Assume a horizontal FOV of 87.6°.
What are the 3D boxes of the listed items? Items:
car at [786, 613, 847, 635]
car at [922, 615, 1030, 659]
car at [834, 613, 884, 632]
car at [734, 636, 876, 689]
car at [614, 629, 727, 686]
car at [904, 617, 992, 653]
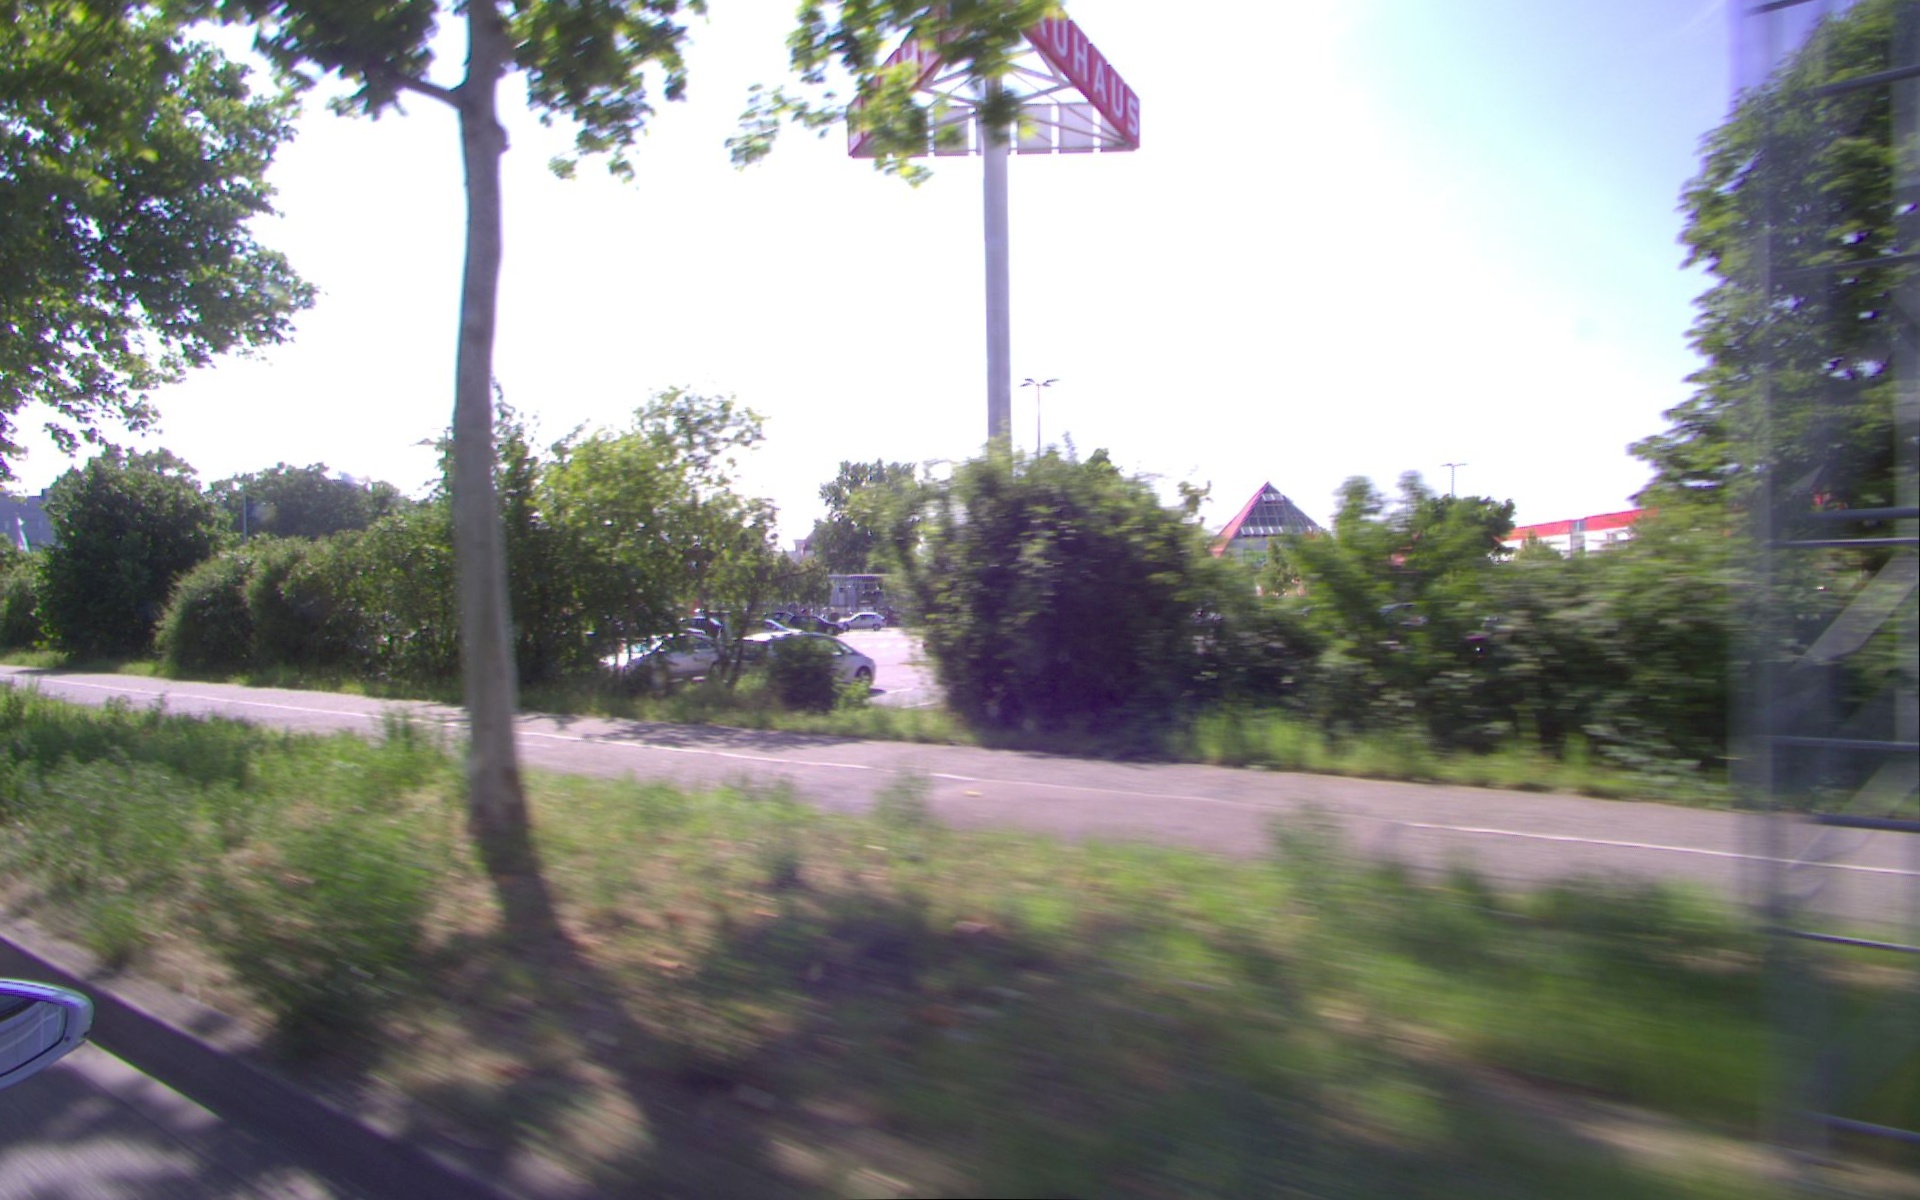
[{"bbox_3d":[-9.843,1.645,68.975,3.922,1.545,1.753,0,-1,1],"label":"car"},{"bbox_3d":[0.610,1.374,37.408,3.922,1.528,2.000,-1,-1,1],"label":"car"},{"bbox_3d":[-8.155,1.839,81.162,3.922,1.545,1.753,0,-1,-1],"label":"car"},{"bbox_3d":[-3.827,1.532,25.372,1.179,1.240,3.951,-1,-2,35],"label":"car"},{"bbox_3d":[-8.470,1.650,29.466,1.179,1.475,3.143,-1,0,35],"label":"car"},{"bbox_3d":[-0.530,1.498,43.097,3.715,1.505,1.781,0,-1,-2],"label":"car"}]
